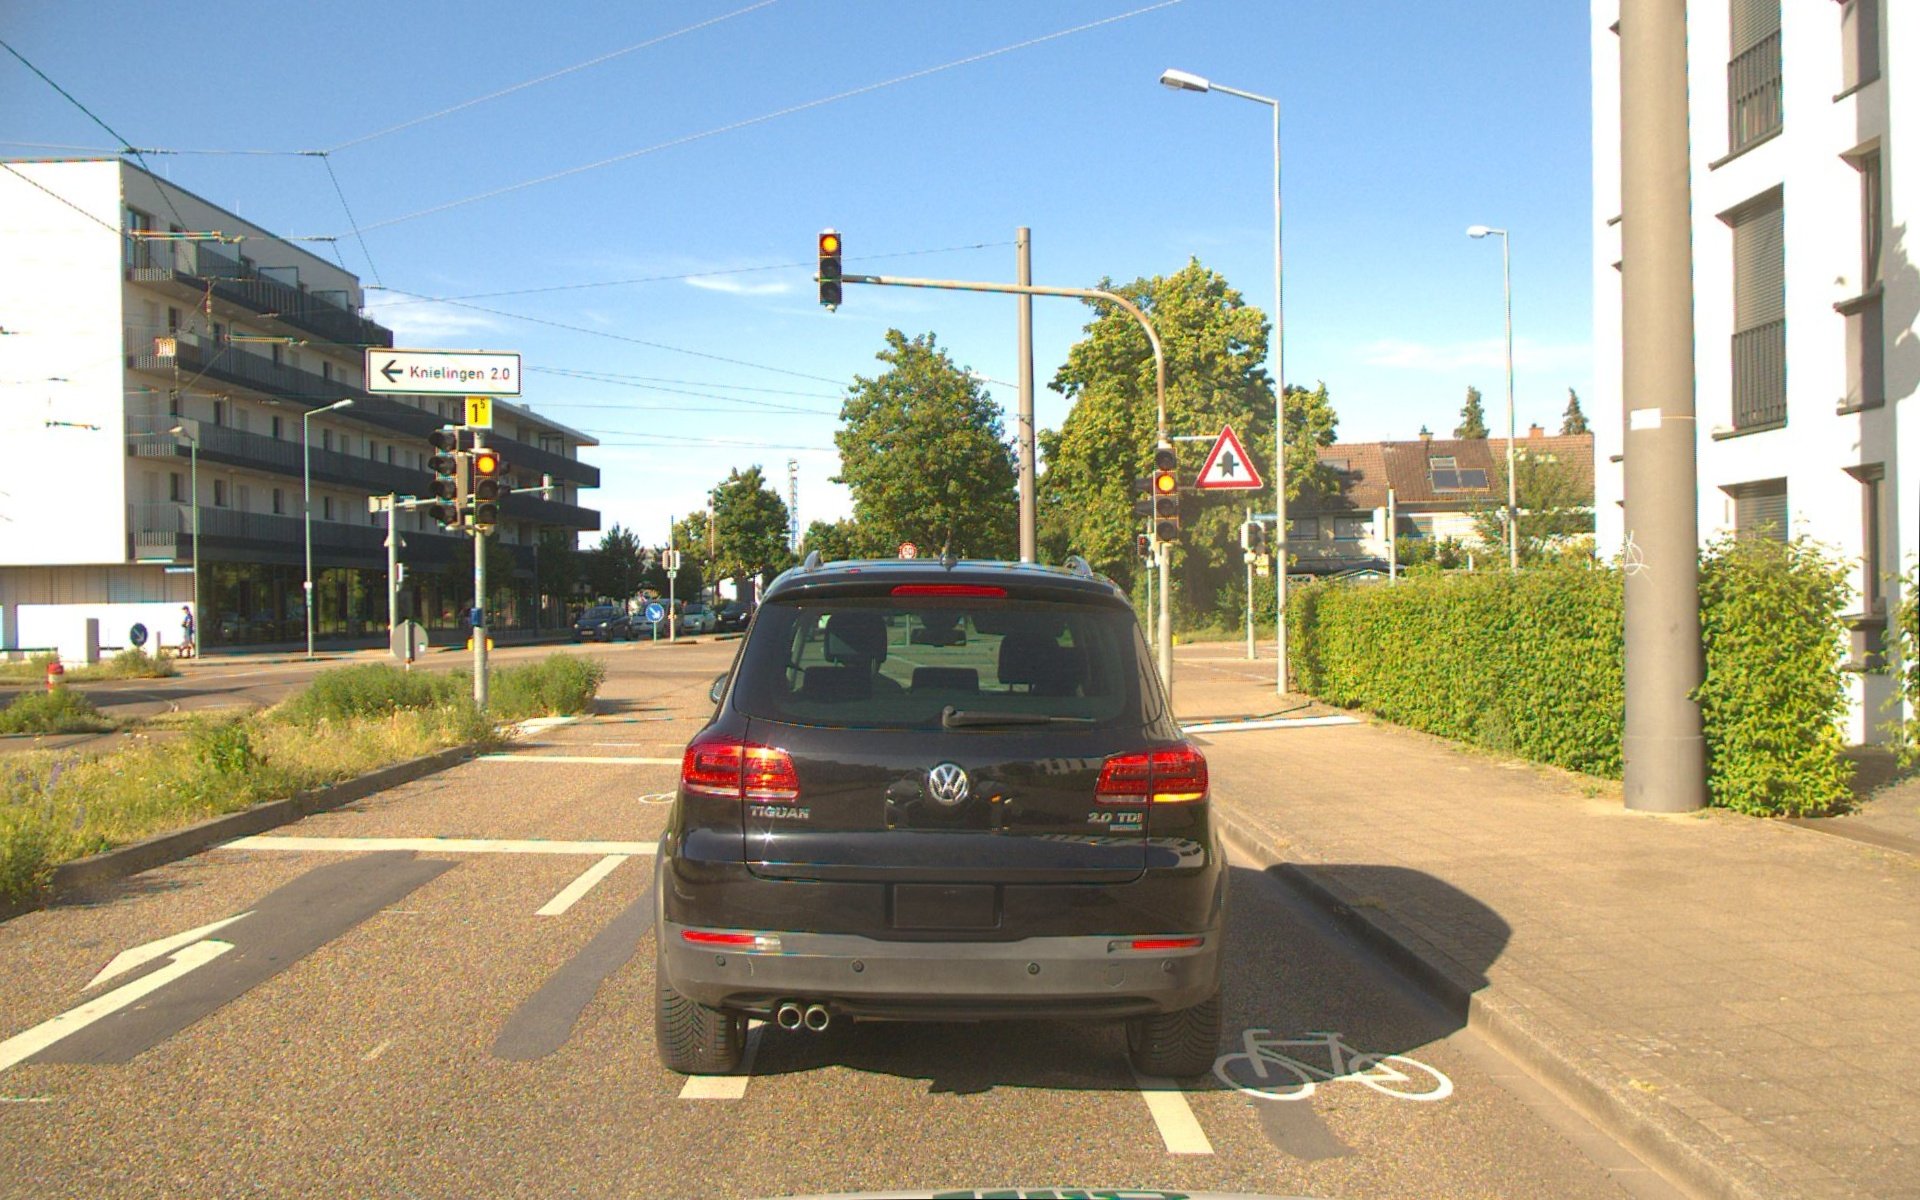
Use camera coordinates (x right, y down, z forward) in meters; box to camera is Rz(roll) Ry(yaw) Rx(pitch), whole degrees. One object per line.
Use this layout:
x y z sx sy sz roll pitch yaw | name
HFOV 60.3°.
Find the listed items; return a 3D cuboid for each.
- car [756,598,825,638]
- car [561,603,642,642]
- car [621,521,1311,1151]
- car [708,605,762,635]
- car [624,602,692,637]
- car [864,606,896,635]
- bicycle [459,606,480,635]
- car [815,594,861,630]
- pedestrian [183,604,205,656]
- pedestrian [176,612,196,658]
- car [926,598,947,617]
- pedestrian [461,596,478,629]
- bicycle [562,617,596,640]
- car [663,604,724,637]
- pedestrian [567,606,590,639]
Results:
-6.695 0.702 65.682 1.824 1.511 4.113 -1 0 7 | car
-15.374 0.942 71.233 1.951 1.601 4.343 1 0 9 | car
-0.007 0.646 6.446 1.831 1.666 3.999 1 0 -1 | car
-12.588 1.119 92.747 1.951 1.601 4.342 1 0 7 | car
-14.372 0.901 78.893 1.951 1.601 4.342 1 0 7 | car
-5.357 1.373 110.675 1.953 1.869 3.999 1 0 -1 | car
-23.288 0.946 78.552 0.618 1.355 1.909 1 0 -7 | bicycle
-6.118 0.577 83.232 1.825 1.750 3.688 -1 0 3 | car
-26.149 1.021 56.464 0.532 1.774 0.517 1 -1 -6 | pedestrian
-26.126 1.172 55.801 0.433 1.529 0.517 1 -1 -6 | pedestrian
-2.258 0.728 158.381 1.953 1.713 3.998 1 0 -2 | car
-23.291 0.583 78.537 0.630 1.535 0.595 1 -1 -6 | pedestrian
-17.589 1.301 76.500 0.755 1.006 2.434 1 0 6 | bicycle
-13.677 1.046 85.098 1.951 1.601 4.342 1 0 7 | car
-17.627 1.023 76.417 0.696 1.499 0.954 1 0 6 | pedestrian
